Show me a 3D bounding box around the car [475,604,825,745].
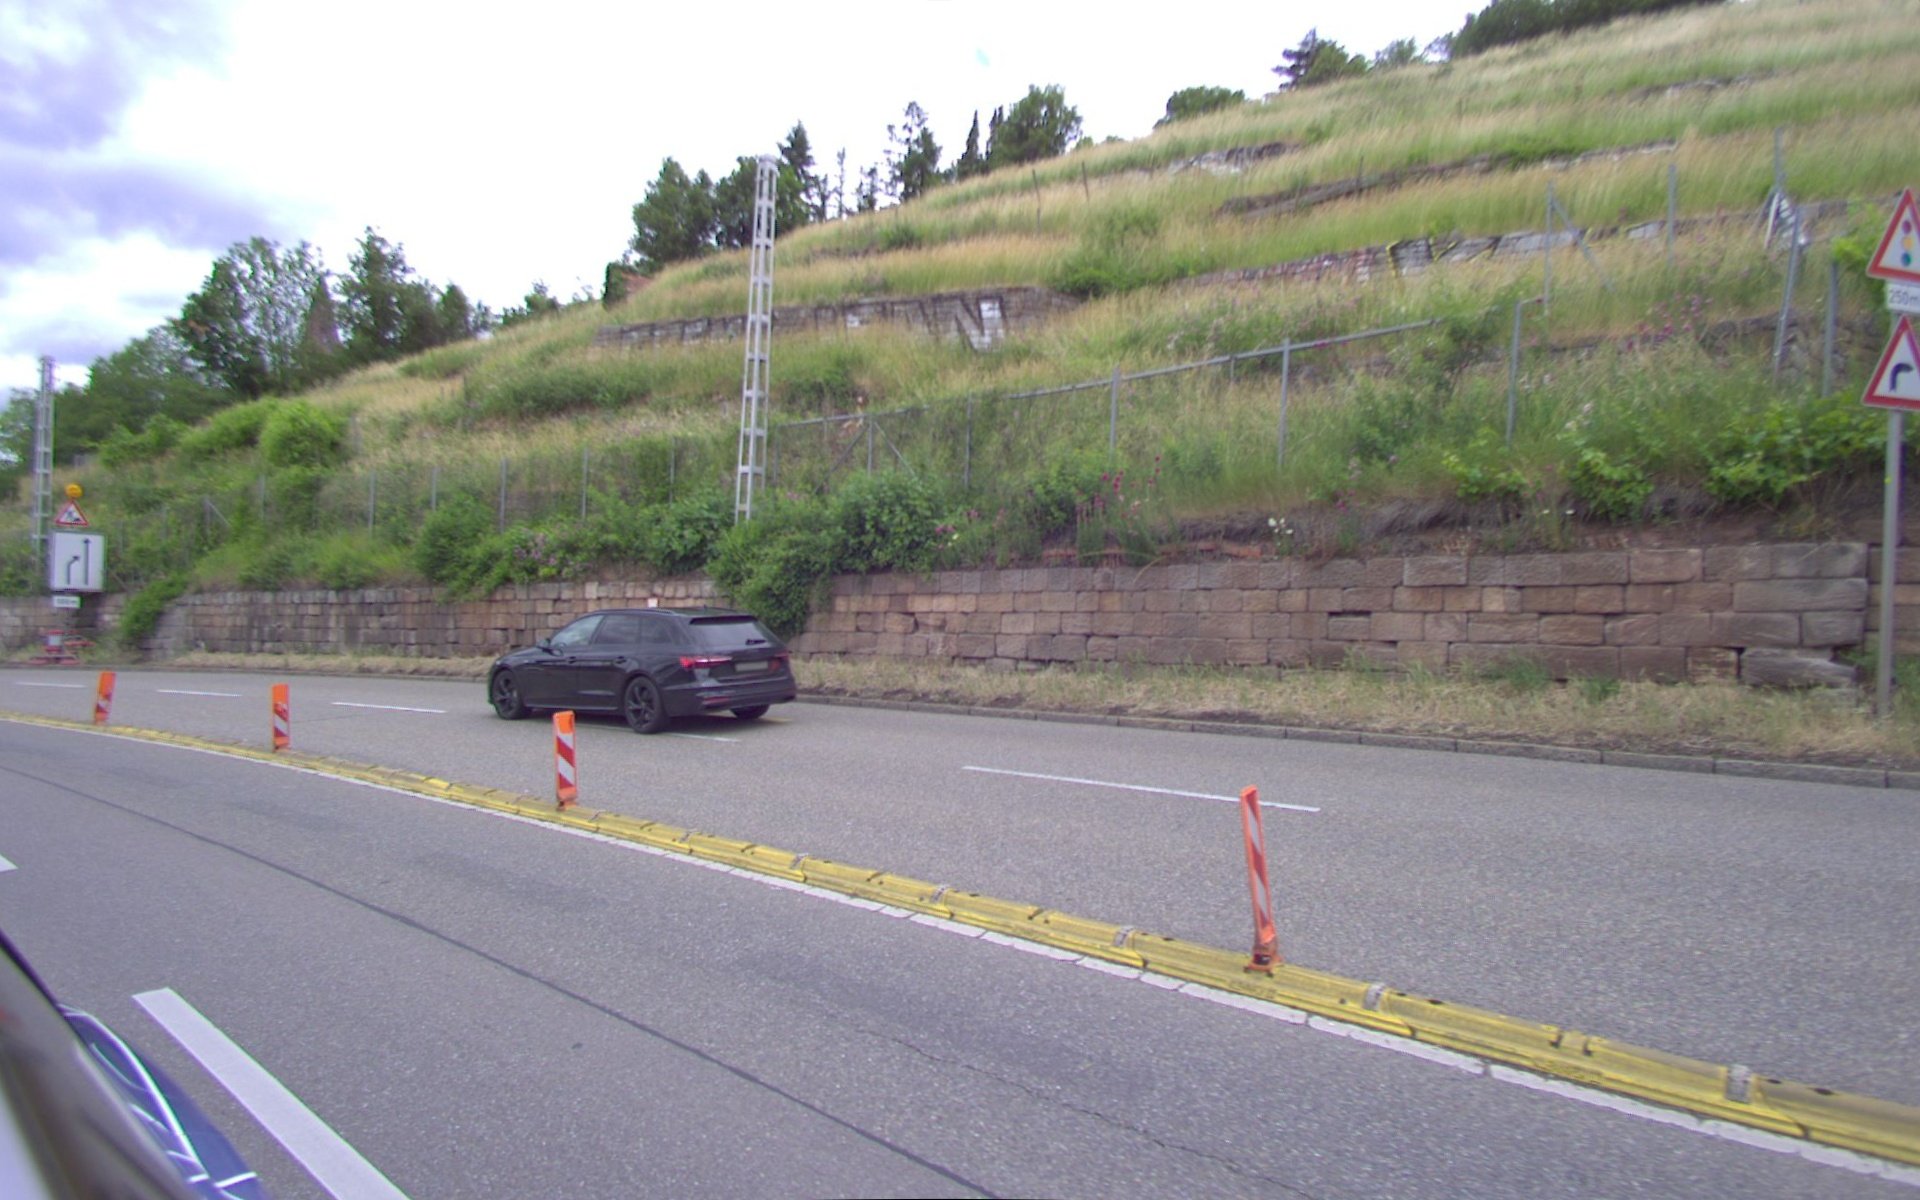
[{"bbox_3d":[-3.927,0.787,12.527,4.405,1.424,1.835,0,1,35],"label":"car"}]
